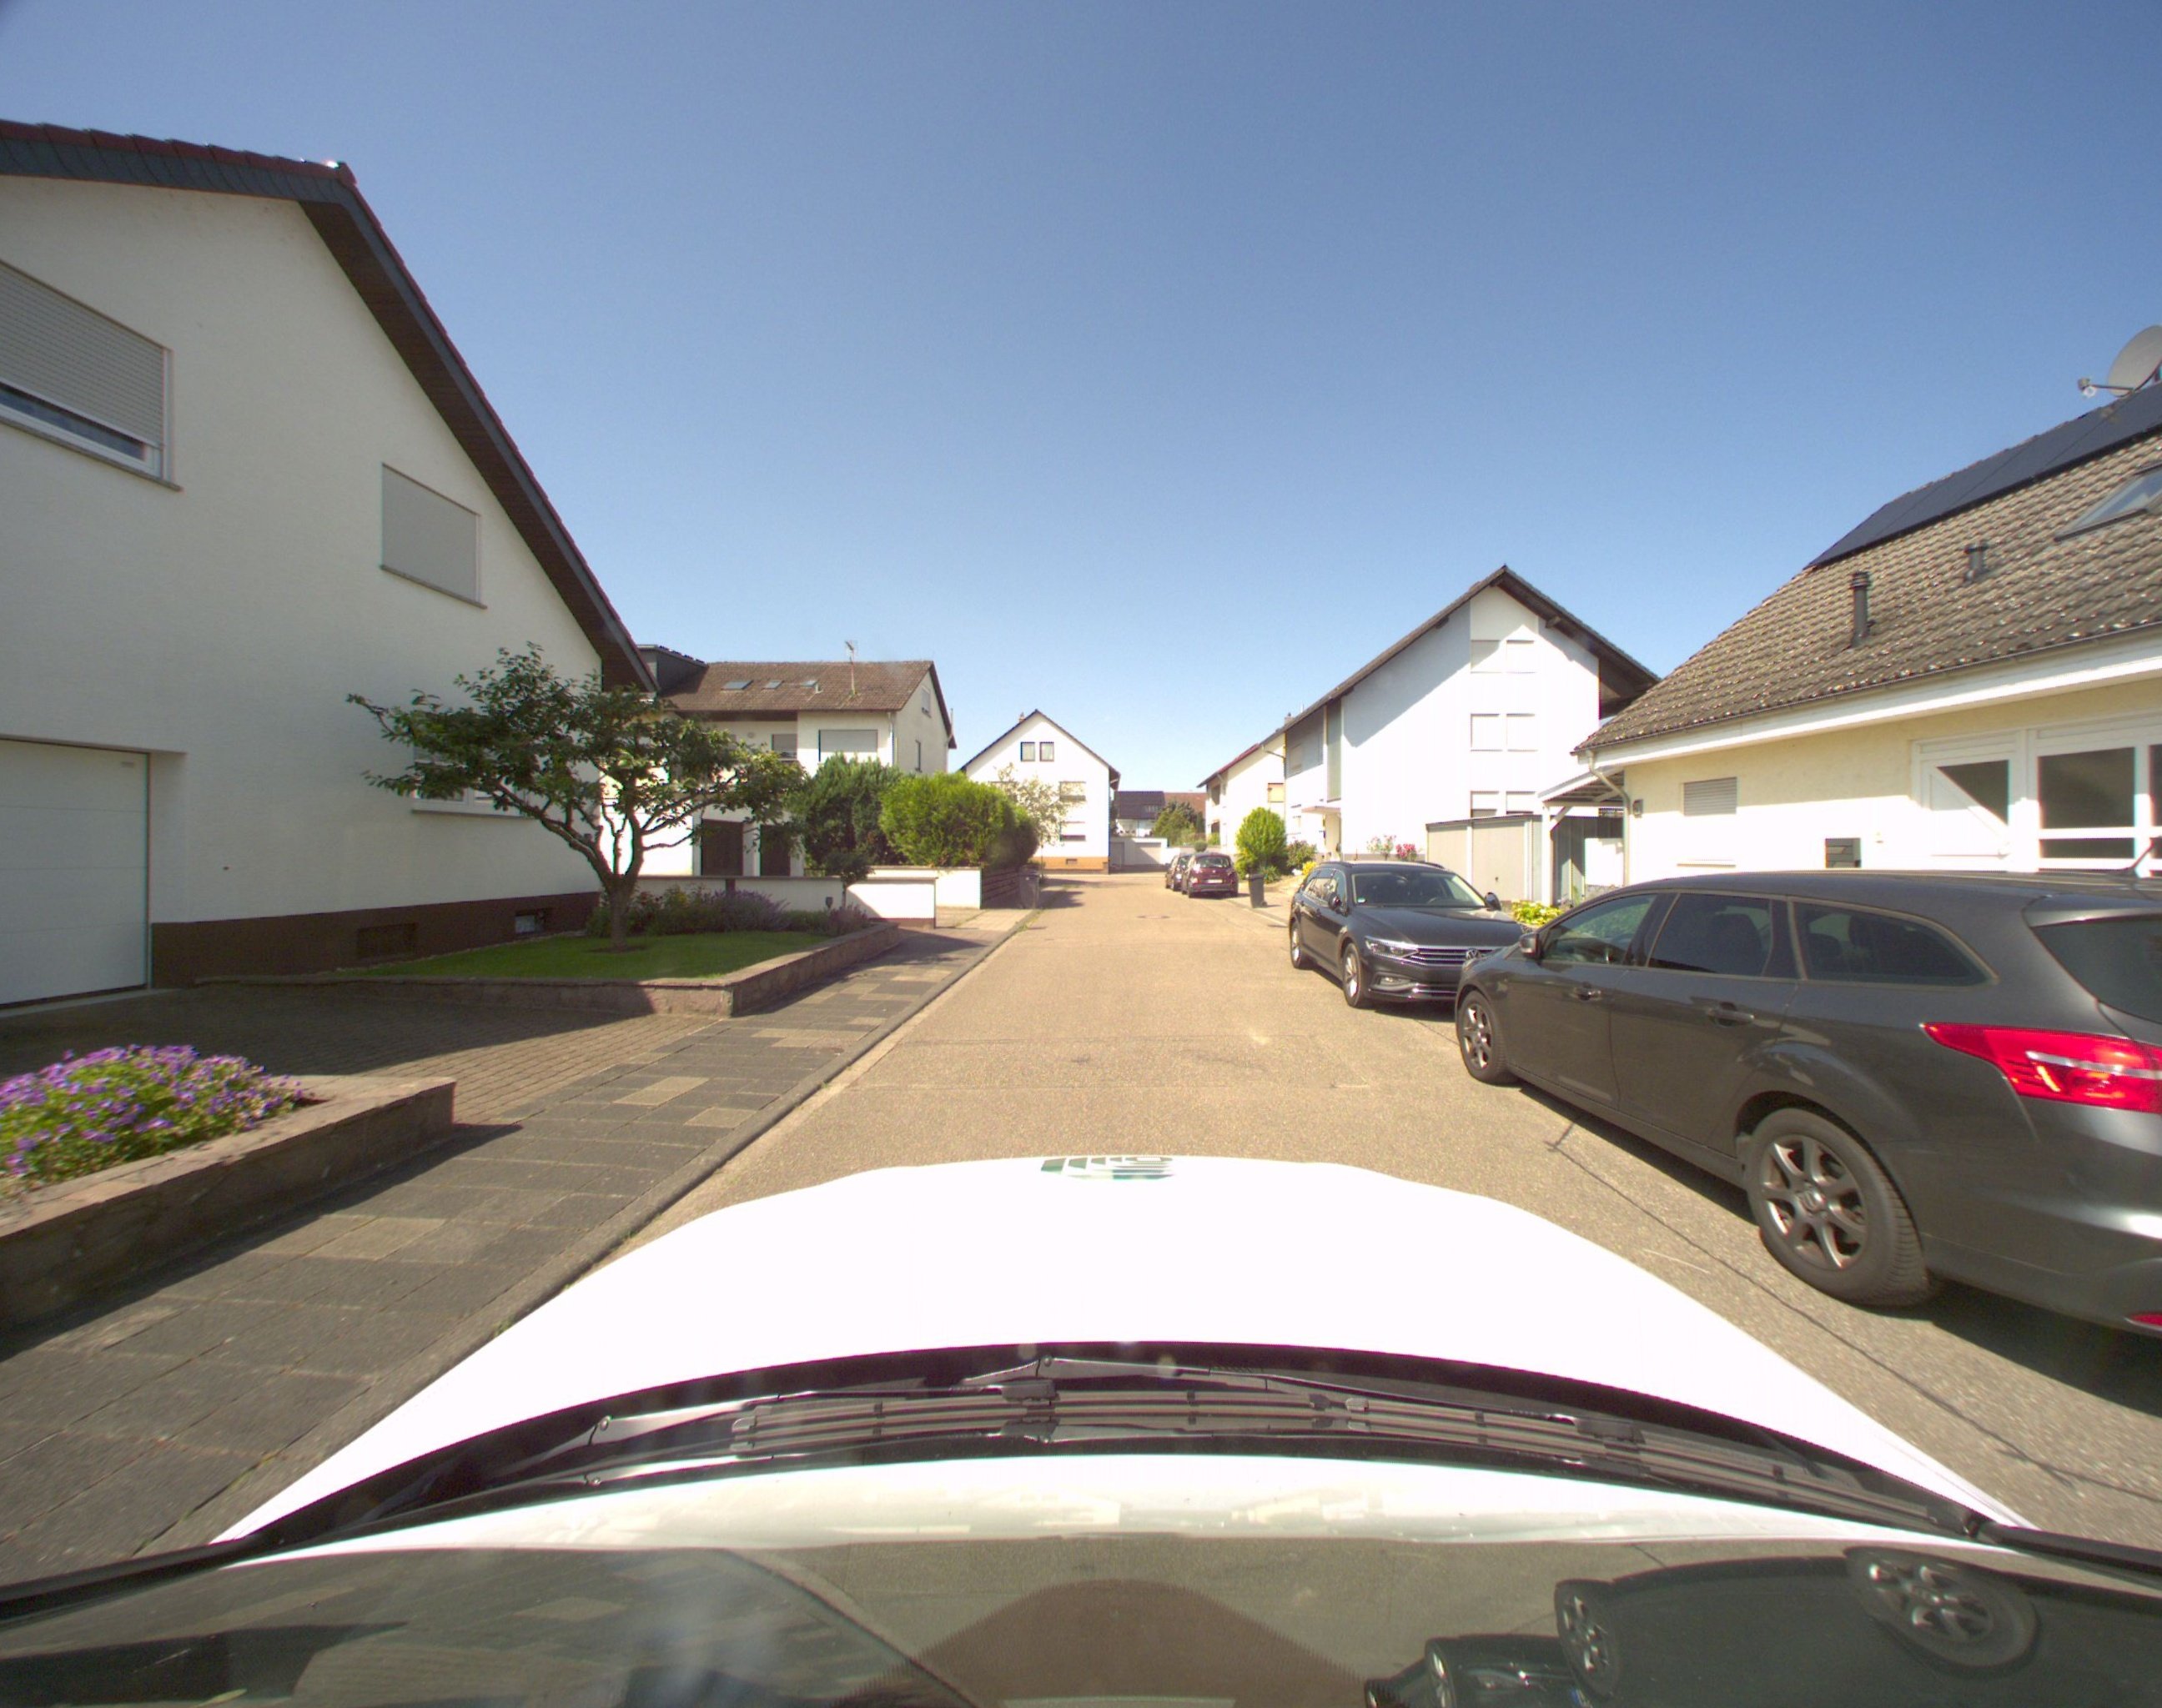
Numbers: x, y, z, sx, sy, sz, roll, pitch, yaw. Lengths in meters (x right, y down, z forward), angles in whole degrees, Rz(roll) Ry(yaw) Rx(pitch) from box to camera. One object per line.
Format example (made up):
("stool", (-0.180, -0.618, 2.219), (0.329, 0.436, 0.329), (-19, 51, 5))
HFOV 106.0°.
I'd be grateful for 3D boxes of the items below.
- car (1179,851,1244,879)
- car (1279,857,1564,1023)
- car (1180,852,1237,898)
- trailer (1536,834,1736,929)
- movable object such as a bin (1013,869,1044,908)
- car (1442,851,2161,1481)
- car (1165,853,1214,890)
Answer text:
("car", (7.648, 0.647, 47.508), (3.828, 1.581, 1.631), (1, 0, -39))
("car", (3.611, 0.776, 9.591), (1.710, 1.438, 4.507), (2, 0, 4))
("car", (4.694, 0.727, 30.482), (1.638, 1.581, 4.150), (0, 0, 2))
("trailer", (10.437, 0.498, 15.450), (2.823, 1.690, 1.403), (0, 0, 2))
("movable object such as a bin", (-1.467, 0.971, 22.984), (0.815, 1.063, 0.611), (-1, 0, 1))
("car", (3.421, 0.761, 3.943), (1.636, 1.478, 4.002), (1, 1, 1))
("car", (4.658, 0.714, 35.445), (1.639, 1.546, 4.047), (0, 0, 0))
